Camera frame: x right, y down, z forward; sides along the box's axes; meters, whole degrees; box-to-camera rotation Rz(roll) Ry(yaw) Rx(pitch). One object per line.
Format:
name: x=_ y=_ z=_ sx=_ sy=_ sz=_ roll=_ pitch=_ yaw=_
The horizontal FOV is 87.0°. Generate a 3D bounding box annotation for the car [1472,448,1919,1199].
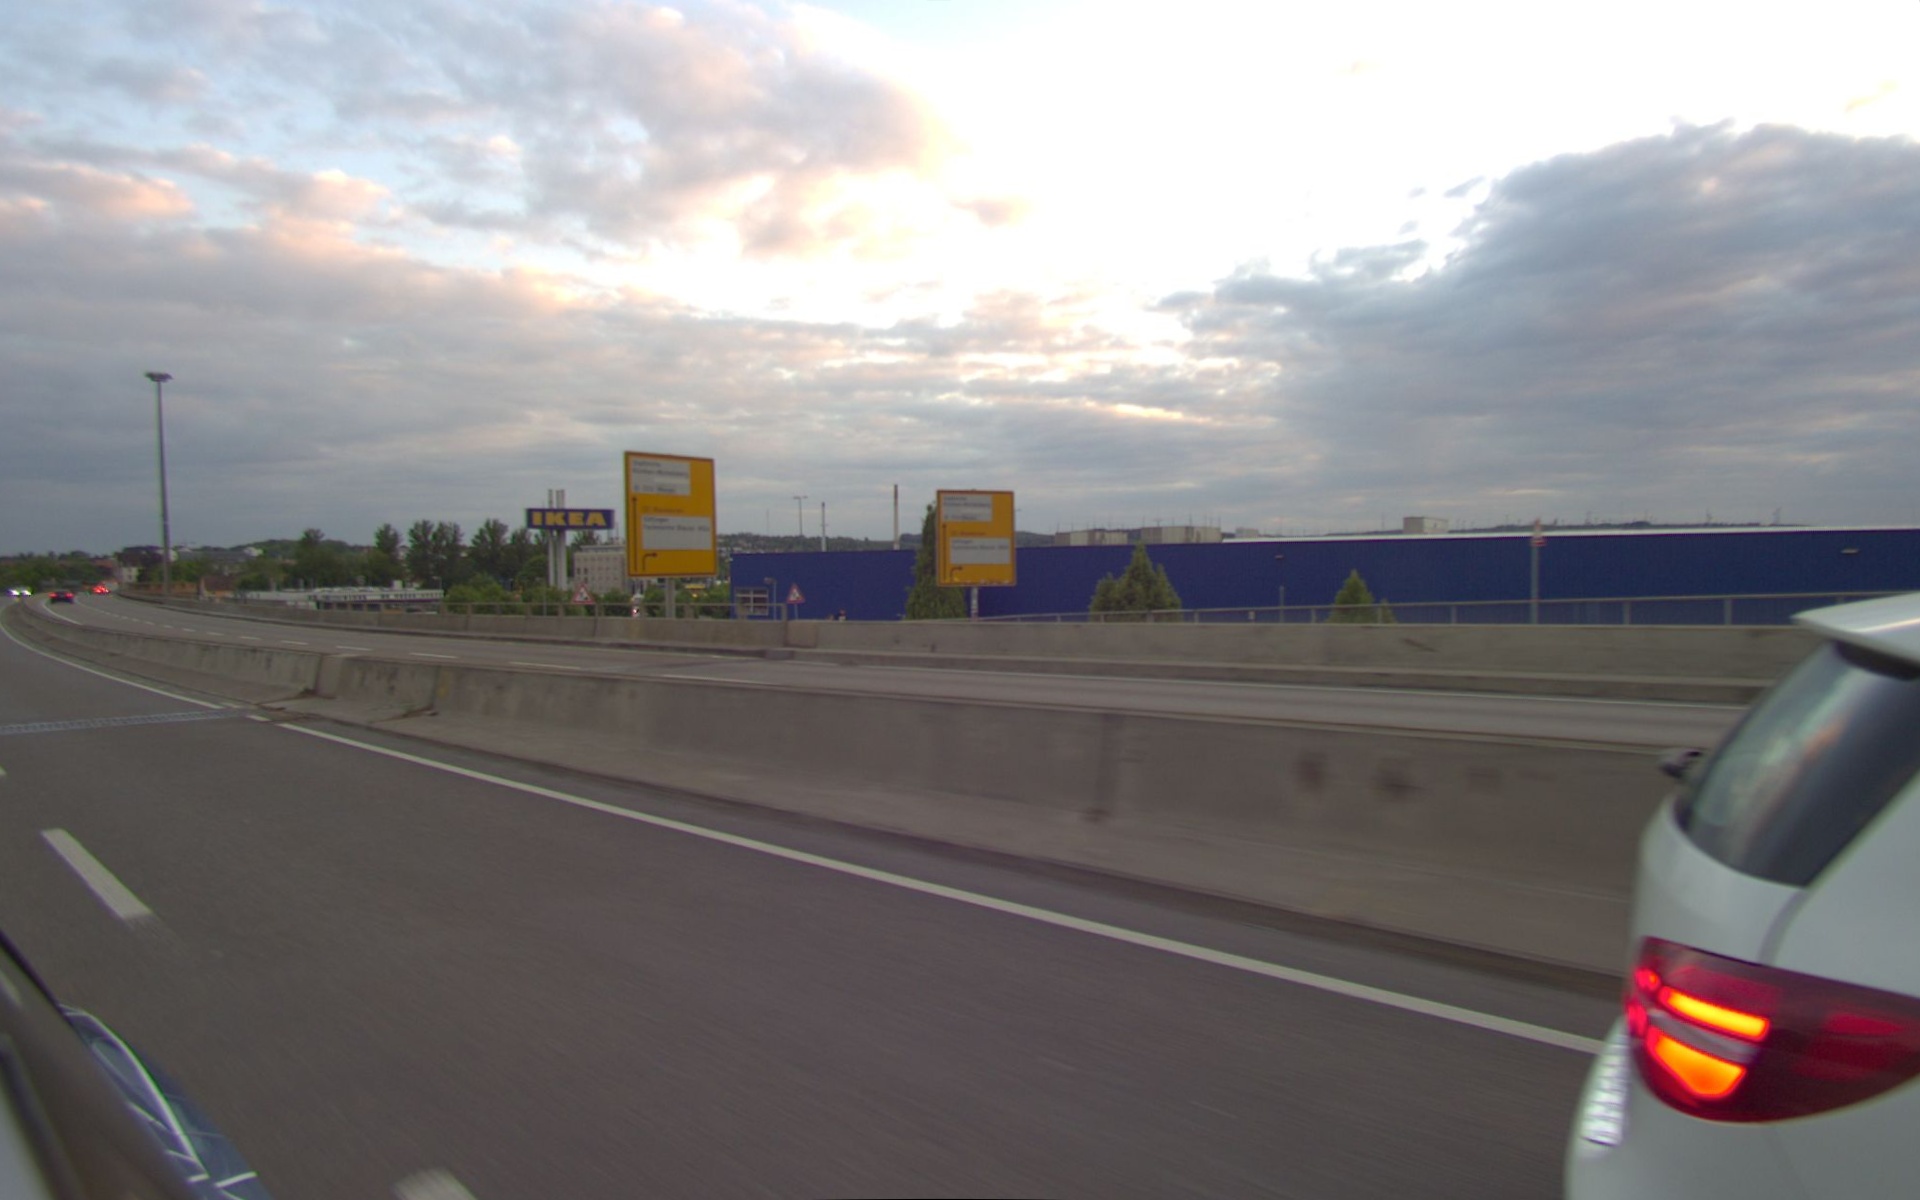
car: x=3.031 y=0.589 z=0.410 sx=4.781 sy=1.548 sz=1.673 roll=-1 pitch=-1 yaw=41

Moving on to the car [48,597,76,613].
car: x=-89.679 y=0.505 z=101.012 sx=4.289 sy=1.491 sz=1.808 roll=1 pitch=1 yaw=45

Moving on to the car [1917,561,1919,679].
car: x=16.120 y=0.246 z=14.111 sx=4.001 sy=1.730 sz=1.618 roll=-1 pitch=0 yaw=44

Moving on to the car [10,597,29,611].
car: x=-144.972 y=0.615 z=155.999 sx=1.969 sy=2.029 sz=4.005 roll=-1 pitch=1 yaw=-42
